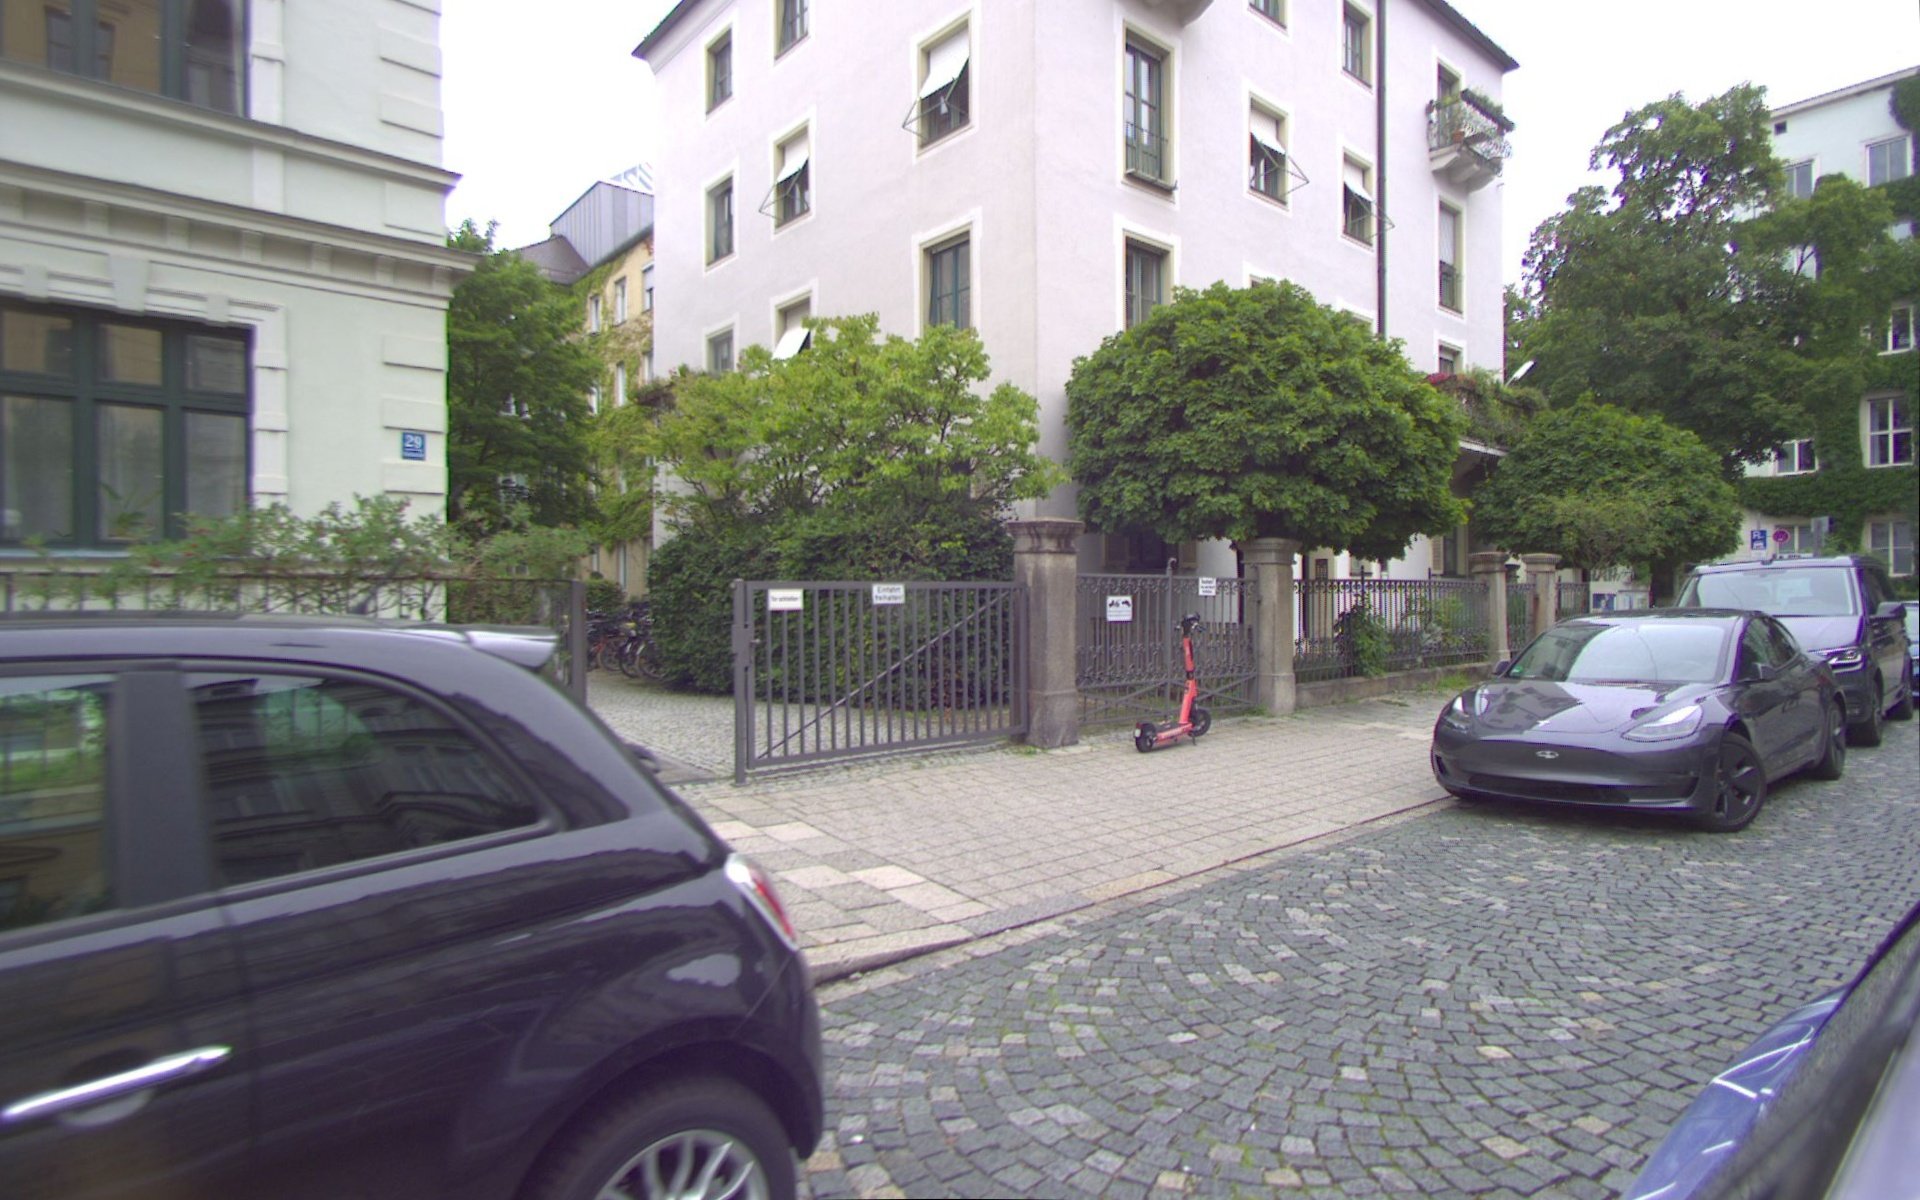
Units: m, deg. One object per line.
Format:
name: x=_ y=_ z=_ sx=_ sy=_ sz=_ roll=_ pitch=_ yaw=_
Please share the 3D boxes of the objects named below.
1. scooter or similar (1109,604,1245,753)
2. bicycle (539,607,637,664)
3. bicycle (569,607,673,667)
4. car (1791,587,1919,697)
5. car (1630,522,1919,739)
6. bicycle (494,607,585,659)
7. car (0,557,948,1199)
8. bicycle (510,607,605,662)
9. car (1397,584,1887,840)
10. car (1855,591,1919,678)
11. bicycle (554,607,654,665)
scooter or similar: x=2.050 y=0.688 z=9.452 sx=1.447 sy=1.230 sz=0.443 roll=-1 pitch=6 yaw=-44
bicycle: x=-7.669 y=0.708 z=20.891 sx=1.775 sy=1.021 sz=0.666 roll=-3 pitch=3 yaw=-38
bicycle: x=-6.570 y=0.697 z=19.668 sx=1.775 sy=1.021 sz=0.666 roll=-3 pitch=3 yaw=-38
car: x=13.708 y=0.524 z=14.785 sx=4.109 sy=1.392 sz=1.743 roll=-1 pitch=2 yaw=-41
car: x=9.686 y=0.289 z=11.696 sx=4.882 sy=1.995 sz=1.996 roll=-1 pitch=-2 yaw=-42
bicycle: x=-9.461 y=0.724 z=22.803 sx=1.775 sy=1.021 sz=0.577 roll=-3 pitch=3 yaw=-38
car: x=-1.949 y=0.751 z=1.672 sx=3.621 sy=1.528 sz=1.669 roll=-1 pitch=-2 yaw=-41
bicycle: x=-8.657 y=0.718 z=21.814 sx=1.775 sy=1.021 sz=0.666 roll=-3 pitch=3 yaw=-38
car: x=5.565 y=0.657 z=8.040 sx=4.450 sy=1.484 sz=1.941 roll=-1 pitch=-2 yaw=-38
car: x=17.486 y=0.570 z=18.027 sx=4.206 sy=1.392 sz=1.743 roll=-1 pitch=2 yaw=-41
bicycle: x=-7.140 y=0.703 z=20.332 sx=1.775 sy=1.021 sz=0.666 roll=-3 pitch=3 yaw=-38
